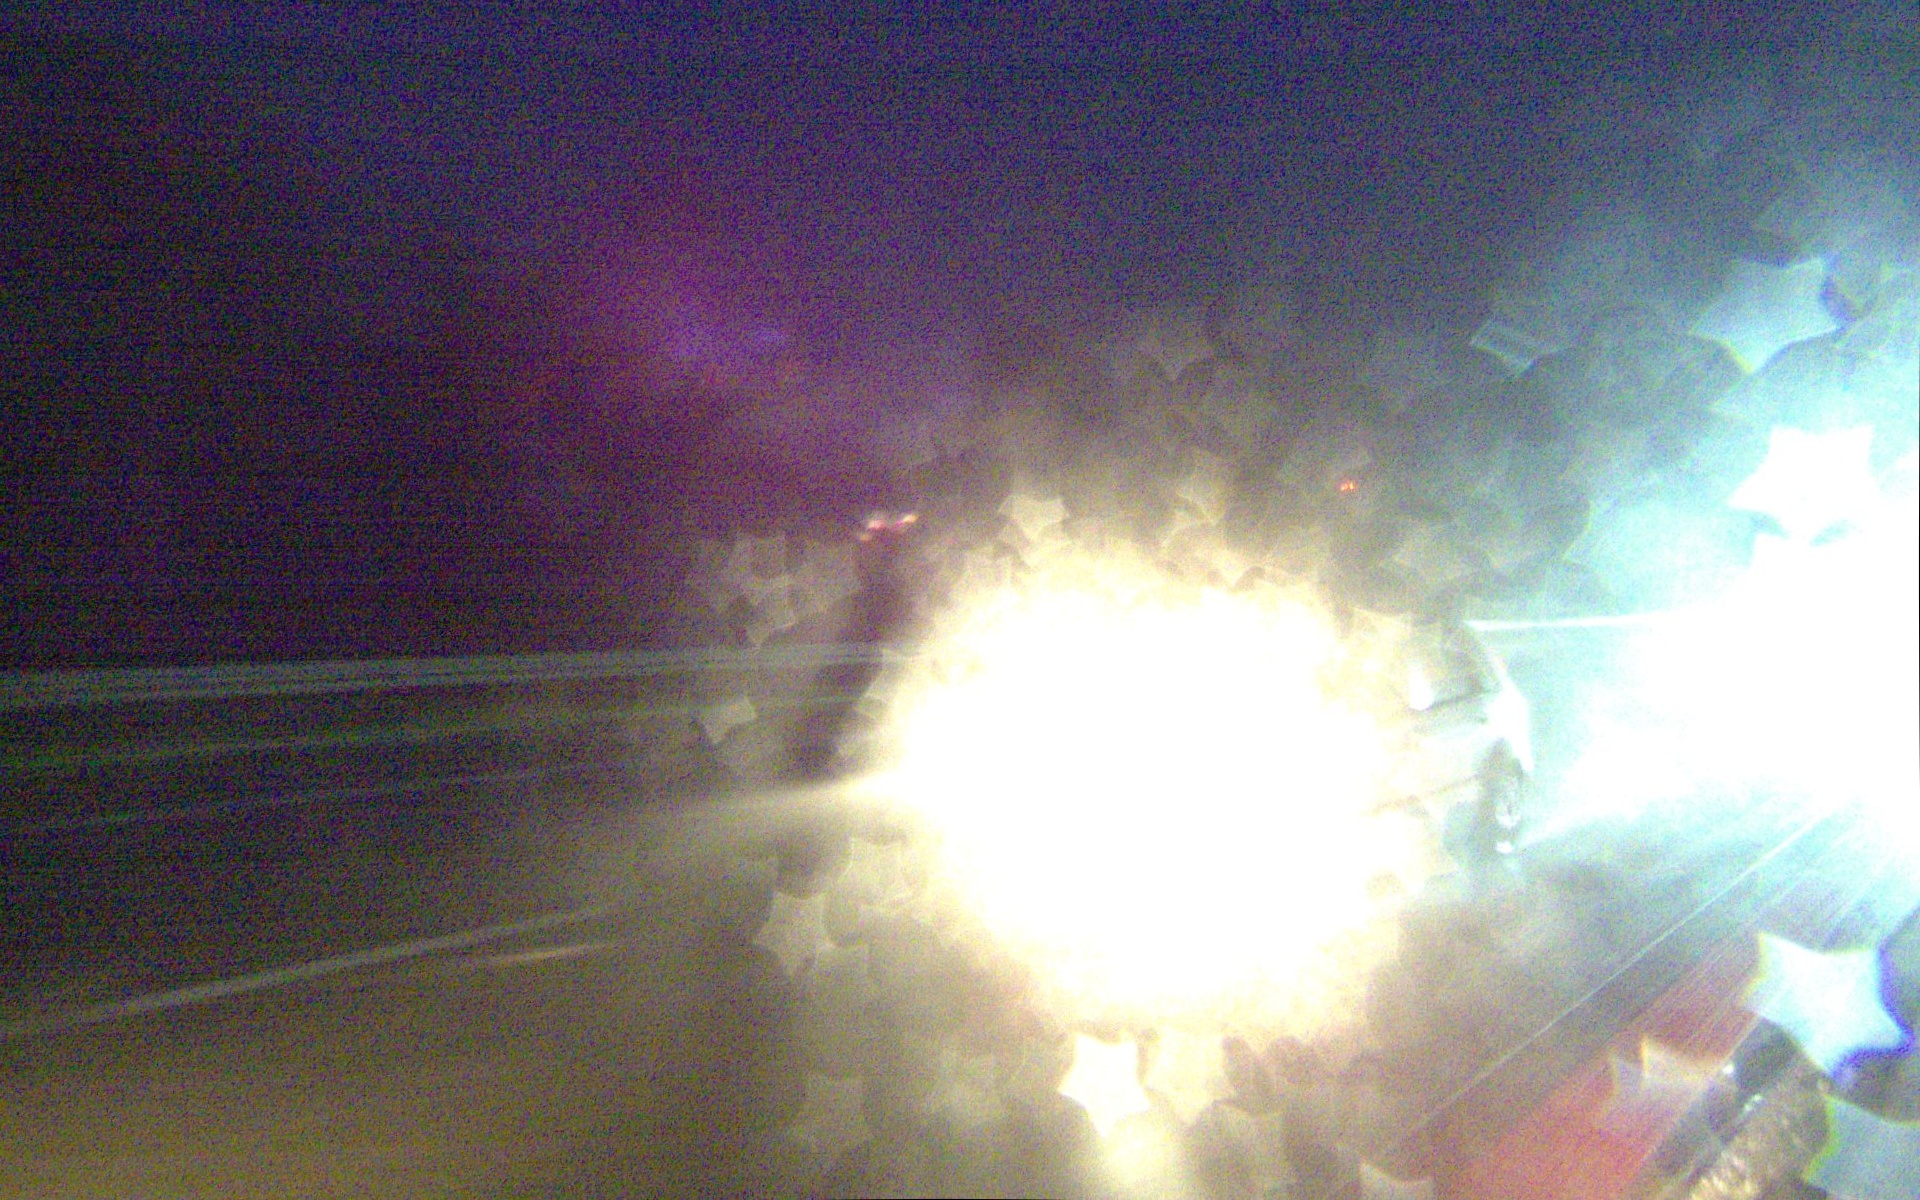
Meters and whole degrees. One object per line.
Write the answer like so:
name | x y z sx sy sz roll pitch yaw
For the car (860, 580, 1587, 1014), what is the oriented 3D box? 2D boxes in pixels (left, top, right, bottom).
car | 1.658 0.652 5.467 4.121 1.476 1.773 0 1 -40
